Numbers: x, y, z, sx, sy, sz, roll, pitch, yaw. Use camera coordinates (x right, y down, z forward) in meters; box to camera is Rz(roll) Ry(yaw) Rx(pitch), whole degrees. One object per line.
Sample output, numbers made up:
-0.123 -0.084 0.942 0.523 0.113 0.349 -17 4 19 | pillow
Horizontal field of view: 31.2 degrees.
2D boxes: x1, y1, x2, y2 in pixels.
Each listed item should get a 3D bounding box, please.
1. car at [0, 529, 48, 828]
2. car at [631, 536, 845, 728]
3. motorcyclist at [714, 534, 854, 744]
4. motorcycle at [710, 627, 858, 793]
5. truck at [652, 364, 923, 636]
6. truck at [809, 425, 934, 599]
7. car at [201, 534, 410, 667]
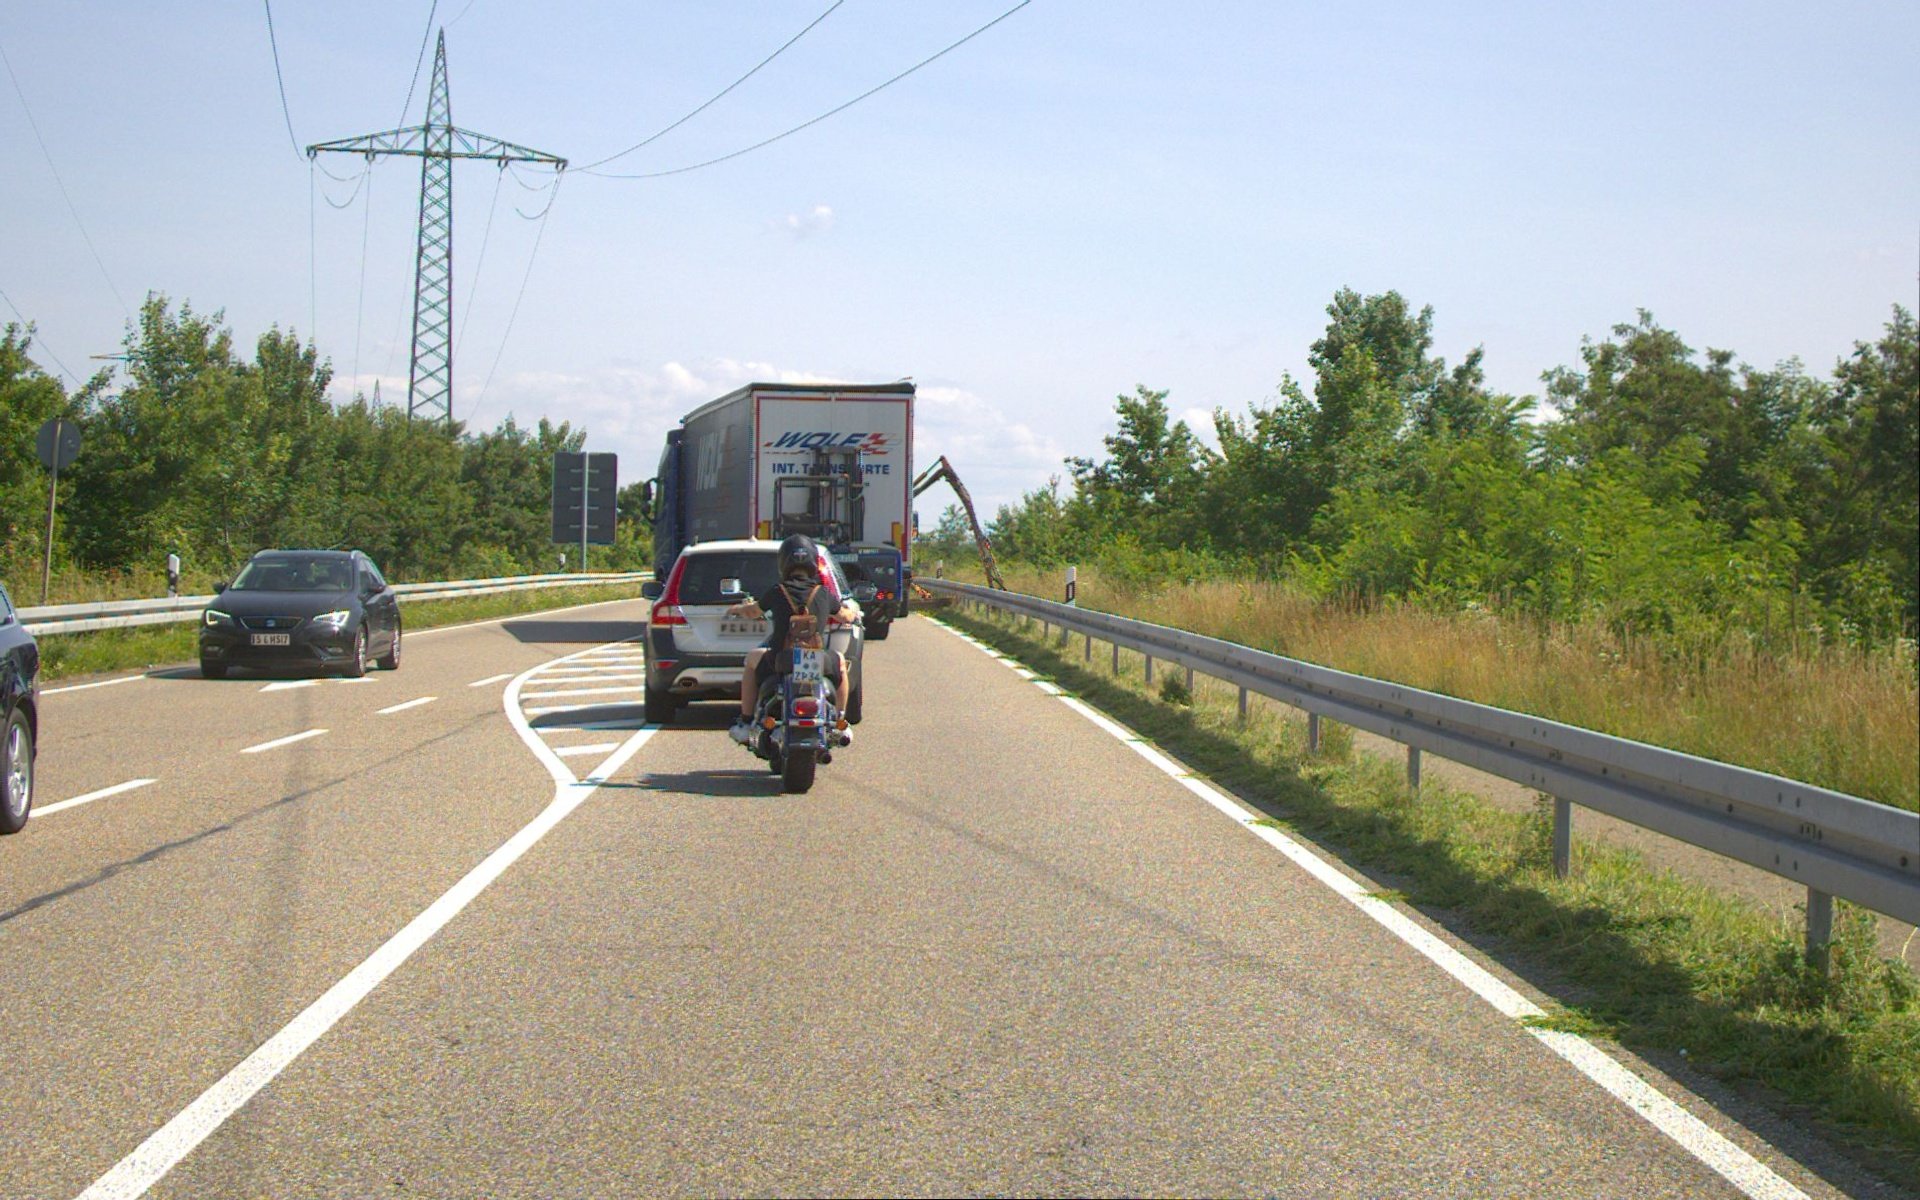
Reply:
-5.572 0.405 15.810 1.727 1.486 4.423 1 1 -2 | car
-1.861 0.228 29.647 1.701 1.531 3.499 1 1 -2 | car
-1.103 0.231 21.469 0.837 1.276 0.919 1 1 -4 | motorcyclist
-1.112 0.659 21.420 0.858 0.912 2.228 1 1 -4 | motorcycle
-3.321 -1.683 60.615 2.967 4.172 14.826 1 1 -10 | truck
-2.047 -1.953 77.331 2.613 3.698 6.778 1 1 -3 | truck
-7.459 -0.034 39.515 1.659 1.437 4.215 1 1 -1 | car
